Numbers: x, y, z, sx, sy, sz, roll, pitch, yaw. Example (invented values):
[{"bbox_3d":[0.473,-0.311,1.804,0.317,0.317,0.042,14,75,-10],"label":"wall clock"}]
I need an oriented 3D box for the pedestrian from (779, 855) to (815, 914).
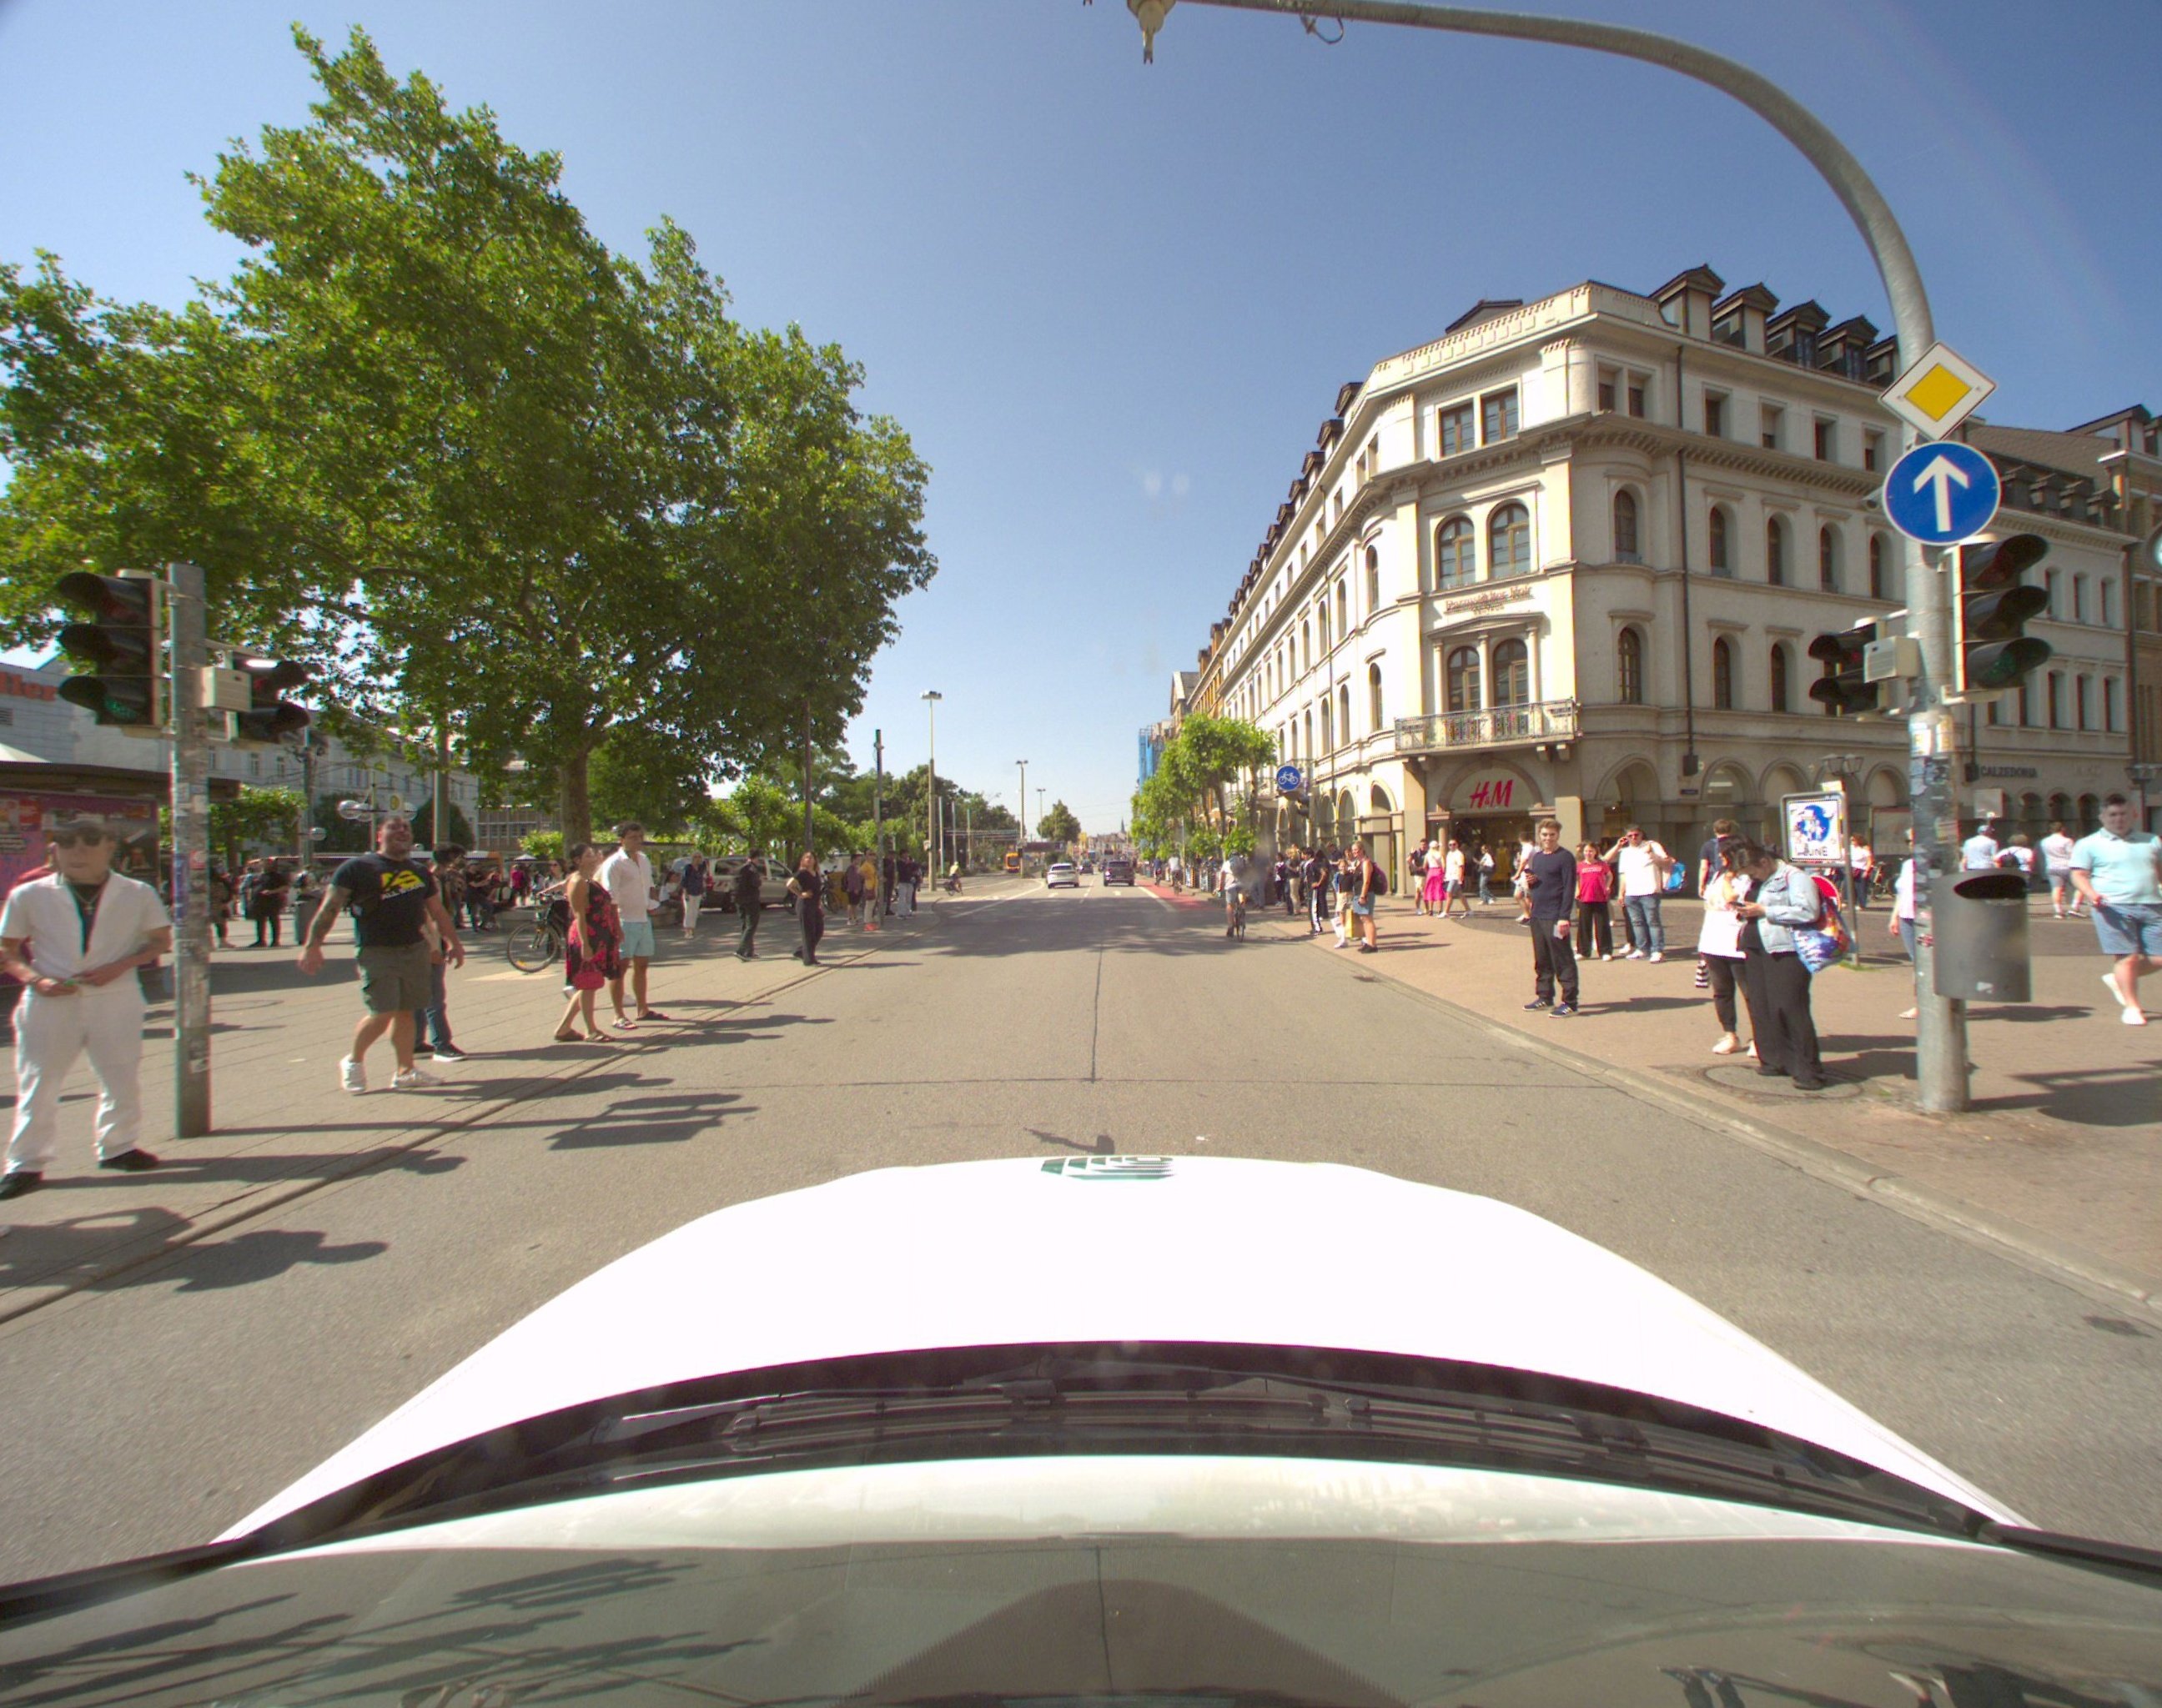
[{"bbox_3d":[-8.616,0.923,24.716,0.671,1.764,0.771,-2,-1,31],"label":"pedestrian"}]

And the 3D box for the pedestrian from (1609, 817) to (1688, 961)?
[{"bbox_3d":[7.492,0.457,10.777,0.521,1.824,0.642,-2,-1,2],"label":"pedestrian"}]

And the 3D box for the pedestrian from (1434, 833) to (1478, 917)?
[{"bbox_3d":[8.281,0.467,17.998,0.608,1.807,0.677,-1,-1,0],"label":"pedestrian"}]

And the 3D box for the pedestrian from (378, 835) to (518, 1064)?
[{"bbox_3d":[-5.080,0.730,6.572,0.573,1.747,0.654,0,-1,3],"label":"pedestrian"}]

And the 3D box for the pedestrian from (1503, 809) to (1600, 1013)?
[{"bbox_3d":[4.579,0.538,7.965,0.520,1.898,0.642,-2,-1,4],"label":"pedestrian"}]

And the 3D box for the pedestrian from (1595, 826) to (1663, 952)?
[{"bbox_3d":[7.659,0.475,11.405,0.521,1.702,0.536,-2,-1,1],"label":"pedestrian"}]

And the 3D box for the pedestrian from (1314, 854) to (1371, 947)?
[{"bbox_3d":[4.469,0.781,13.955,0.608,1.515,0.677,-5,-1,-1],"label":"pedestrian"}]

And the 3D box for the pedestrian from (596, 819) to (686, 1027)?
[{"bbox_3d":[-4.215,0.642,7.824,0.529,1.919,0.560,-1,-1,3],"label":"pedestrian"}]

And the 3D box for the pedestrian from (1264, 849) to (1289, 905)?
[{"bbox_3d":[5.832,0.680,24.310,0.525,1.595,0.615,-1,2,28],"label":"pedestrian"}]

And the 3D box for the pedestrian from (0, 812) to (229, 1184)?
[{"bbox_3d":[-5.048,0.689,4.241,0.536,1.779,0.607,0,-1,7],"label":"pedestrian"}]

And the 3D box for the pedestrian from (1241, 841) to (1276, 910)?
[{"bbox_3d":[5.079,0.606,23.275,0.681,1.898,0.615,-5,-1,28],"label":"pedestrian"}]

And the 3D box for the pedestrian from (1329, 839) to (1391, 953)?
[{"bbox_3d":[4.529,0.673,13.260,0.669,1.769,0.677,-4,-1,-1],"label":"pedestrian"}]

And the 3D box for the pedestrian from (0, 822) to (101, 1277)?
[{"bbox_3d":[-4.467,0.749,3.290,0.431,1.740,0.600,1,-1,-30],"label":"pedestrian"}]

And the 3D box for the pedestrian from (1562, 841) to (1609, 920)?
[{"bbox_3d":[10.679,0.548,17.245,0.538,1.633,0.677,0,-1,0],"label":"pedestrian"}]

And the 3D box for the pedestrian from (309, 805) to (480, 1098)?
[{"bbox_3d":[-4.694,0.631,5.610,0.573,1.891,0.654,0,-1,3],"label":"pedestrian"}]

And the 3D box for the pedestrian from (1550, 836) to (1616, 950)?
[{"bbox_3d":[7.408,0.565,12.045,0.521,1.609,0.642,-2,-1,2],"label":"pedestrian"}]

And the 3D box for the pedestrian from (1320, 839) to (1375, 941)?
[{"bbox_3d":[4.842,0.648,14.843,0.608,1.759,0.677,-5,-1,-1],"label":"pedestrian"}]

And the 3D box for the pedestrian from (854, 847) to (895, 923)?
[{"bbox_3d":[-5.140,0.757,20.280,0.626,1.859,0.735,-2,-1,31],"label":"pedestrian"}]

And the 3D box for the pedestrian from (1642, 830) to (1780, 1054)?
[{"bbox_3d":[4.839,0.651,6.288,0.546,1.631,0.589,-2,-1,4],"label":"pedestrian"}]

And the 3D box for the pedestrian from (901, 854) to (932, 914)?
[{"bbox_3d":[-4.667,0.848,23.081,0.611,1.668,0.596,-2,-1,31],"label":"pedestrian"}]

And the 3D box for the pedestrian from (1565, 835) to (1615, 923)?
[{"bbox_3d":[10.107,0.493,16.185,0.539,1.716,0.677,0,-1,-3],"label":"pedestrian"}]

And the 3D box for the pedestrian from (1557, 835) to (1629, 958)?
[{"bbox_3d":[6.966,0.571,11.105,0.521,1.611,0.642,-2,-1,2],"label":"pedestrian"}]

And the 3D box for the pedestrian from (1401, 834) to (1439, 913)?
[{"bbox_3d":[8.083,0.463,19.437,0.608,1.824,0.677,-1,-1,0],"label":"pedestrian"}]

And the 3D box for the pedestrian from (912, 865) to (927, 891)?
[{"bbox_3d":[-10.023,1.475,50.563,0.768,1.629,0.612,-1,-1,1],"label":"pedestrian"}]

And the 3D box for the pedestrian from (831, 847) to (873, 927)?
[{"bbox_3d":[-5.493,0.779,19.557,0.626,1.859,0.735,-2,-1,31],"label":"pedestrian"}]

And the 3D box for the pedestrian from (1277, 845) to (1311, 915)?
[{"bbox_3d":[5.290,0.644,20.254,0.581,1.673,0.605,-4,-1,-1],"label":"pedestrian"}]

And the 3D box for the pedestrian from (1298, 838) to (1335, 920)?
[{"bbox_3d":[5.368,0.564,18.580,0.608,1.824,0.677,-1,-1,0],"label":"pedestrian"}]

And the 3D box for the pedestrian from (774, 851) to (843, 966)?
[{"bbox_3d":[-3.939,0.767,11.787,0.627,1.595,0.690,-1,-1,22],"label":"pedestrian"}]

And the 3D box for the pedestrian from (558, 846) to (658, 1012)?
[{"bbox_3d":[-5.111,0.781,8.843,0.581,1.722,0.790,-1,-1,3],"label":"pedestrian"}]

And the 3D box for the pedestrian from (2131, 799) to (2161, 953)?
[{"bbox_3d":[13.101,0.249,9.486,0.617,1.824,0.794,-2,-1,2],"label":"pedestrian"}]

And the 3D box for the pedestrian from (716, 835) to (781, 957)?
[{"bbox_3d":[-5.205,0.644,12.771,0.627,1.859,0.690,-1,-1,22],"label":"pedestrian"}]

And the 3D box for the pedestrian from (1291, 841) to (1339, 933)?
[{"bbox_3d":[4.672,0.645,16.272,0.608,1.739,0.677,-5,-1,-1],"label":"pedestrian"}]

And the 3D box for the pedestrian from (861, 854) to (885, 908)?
[{"bbox_3d":[-6.715,0.872,26.311,0.608,1.725,0.677,-1,-1,0],"label":"pedestrian"}]

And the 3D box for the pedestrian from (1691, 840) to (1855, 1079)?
[{"bbox_3d":[4.709,0.687,5.581,0.520,1.521,0.642,-2,-1,4],"label":"pedestrian"}]

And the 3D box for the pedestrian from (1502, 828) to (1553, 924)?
[{"bbox_3d":[8.816,0.426,16.101,0.673,1.855,0.541,-1,-1,-1],"label":"pedestrian"}]

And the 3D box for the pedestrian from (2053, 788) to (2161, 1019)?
[{"bbox_3d":[8.521,0.391,6.694,0.554,1.801,0.581,-1,-2,-43],"label":"pedestrian"}]

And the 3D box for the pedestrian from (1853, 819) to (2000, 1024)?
[{"bbox_3d":[7.136,0.551,6.900,0.546,1.640,0.589,-2,-1,4],"label":"pedestrian"}]

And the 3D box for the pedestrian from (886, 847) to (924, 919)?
[{"bbox_3d":[-4.614,0.754,21.386,0.626,1.834,0.735,-2,-1,31],"label":"pedestrian"}]

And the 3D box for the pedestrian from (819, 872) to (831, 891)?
[{"bbox_3d":[-19.275,2.067,61.313,0.651,1.336,0.713,-1,-1,3],"label":"pedestrian"}]

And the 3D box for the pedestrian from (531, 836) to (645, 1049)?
[{"bbox_3d":[-4.273,0.738,7.091,0.573,1.758,0.639,-1,-1,3],"label":"pedestrian"}]

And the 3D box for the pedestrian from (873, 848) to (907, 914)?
[{"bbox_3d":[-5.379,0.750,22.975,0.611,1.824,0.668,-2,-1,31],"label":"pedestrian"}]

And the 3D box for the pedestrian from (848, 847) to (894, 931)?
[{"bbox_3d":[-4.583,0.747,17.804,0.627,1.794,0.735,-1,-1,22],"label":"pedestrian"}]

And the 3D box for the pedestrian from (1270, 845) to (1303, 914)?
[{"bbox_3d":[5.280,0.646,20.939,0.581,1.700,0.605,-4,-1,-1],"label":"pedestrian"}]

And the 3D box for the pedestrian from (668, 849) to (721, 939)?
[{"bbox_3d":[-7.901,0.805,16.670,0.627,1.810,0.735,-1,-1,22],"label":"pedestrian"}]
